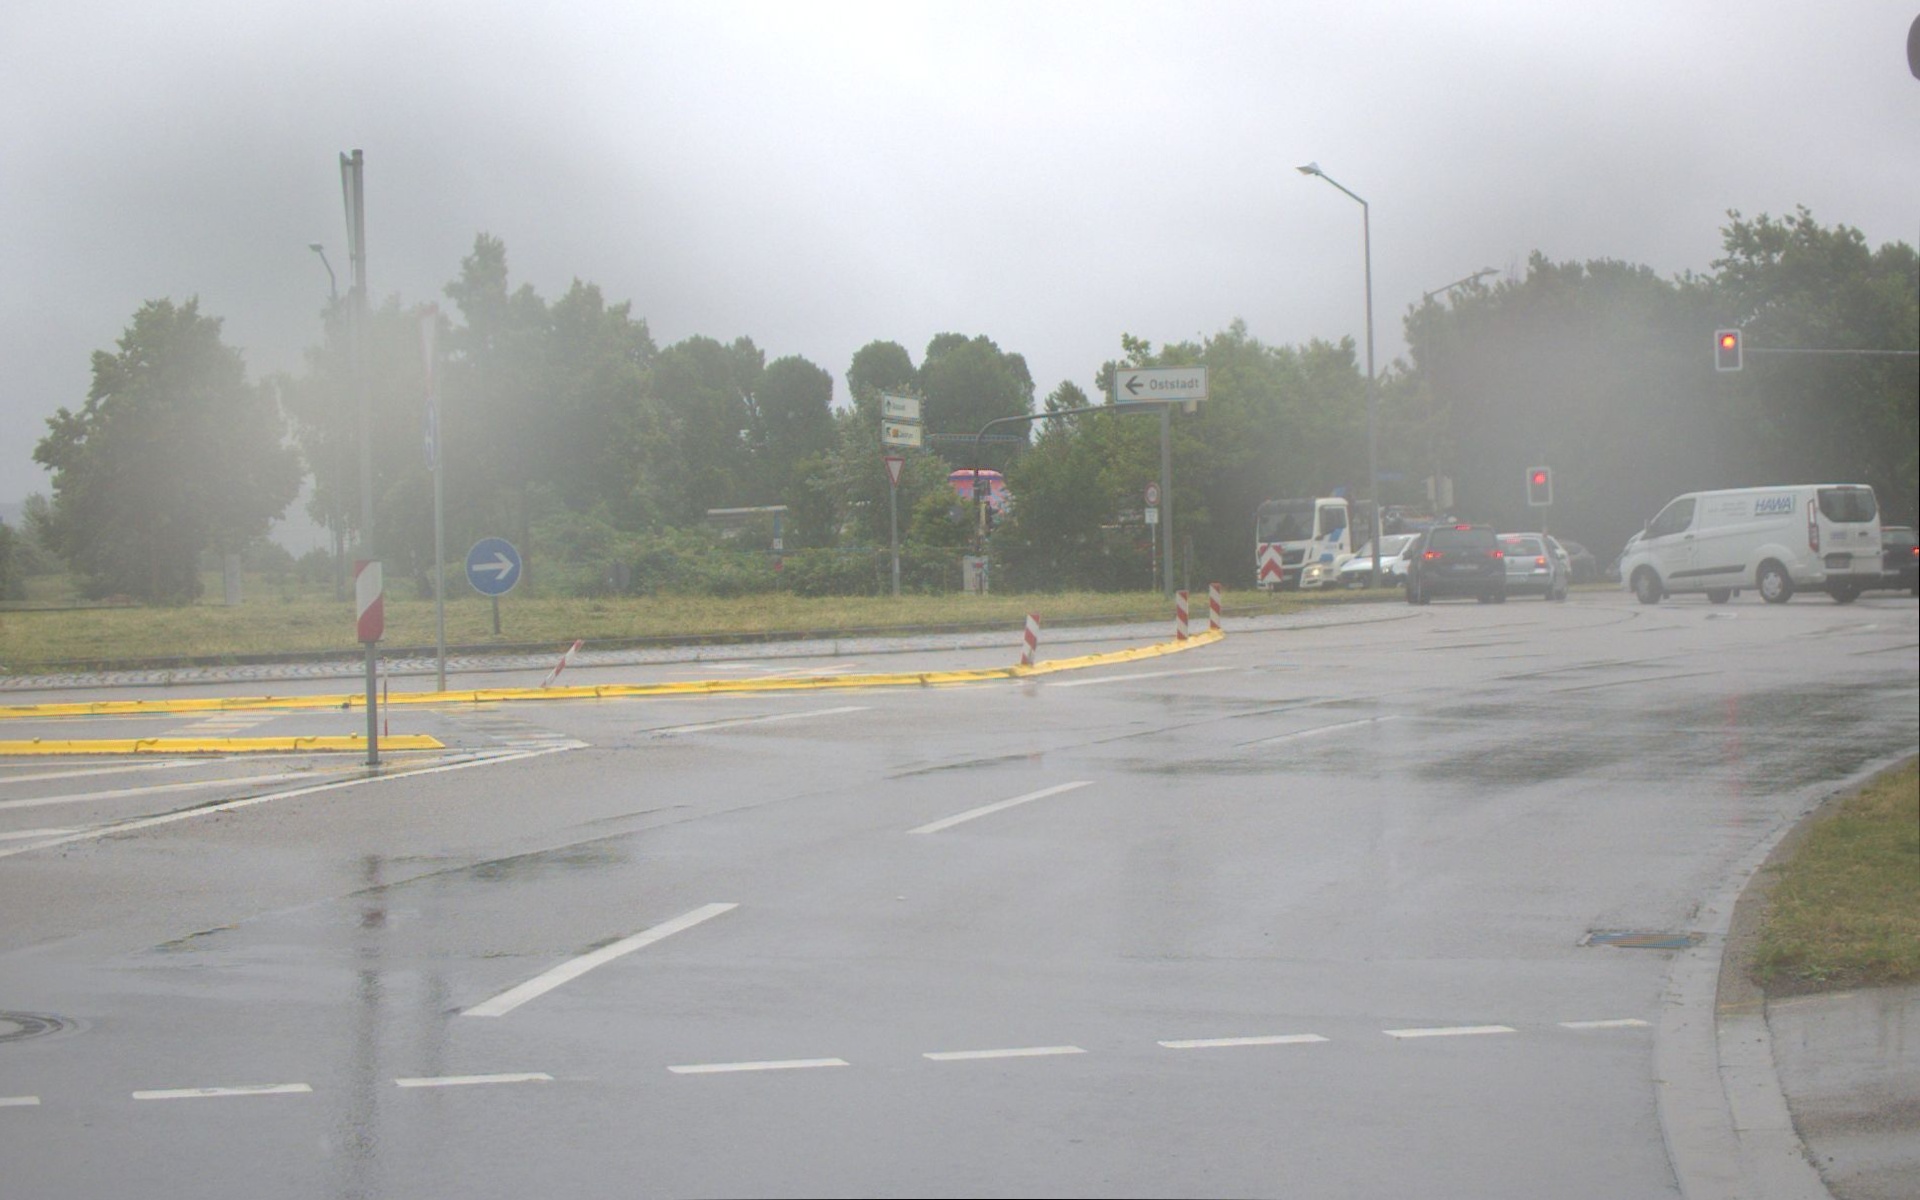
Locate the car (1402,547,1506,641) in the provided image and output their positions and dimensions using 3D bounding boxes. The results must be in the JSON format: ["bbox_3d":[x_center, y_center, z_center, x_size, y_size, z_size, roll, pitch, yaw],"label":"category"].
[{"bbox_3d":[10.293,-0.123,71.407,1.994,1.845,4.774,1,0,10],"label":"car"}]

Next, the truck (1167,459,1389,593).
[{"bbox_3d":[6.958,-1.536,74.112,2.464,2.677,8.049,1,0,23],"label":"truck"}]

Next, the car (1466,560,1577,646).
[{"bbox_3d":[12.635,0.069,77.149,1.995,1.845,4.772,1,0,15],"label":"car"}]

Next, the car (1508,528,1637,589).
[{"bbox_3d":[17.447,-1.162,97.799,1.800,1.656,3.990,1,0,41],"label":"car"}]

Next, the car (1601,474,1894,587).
[{"bbox_3d":[13.561,-1.181,59.446,1.994,1.845,4.775,1,0,-37],"label":"car"}]

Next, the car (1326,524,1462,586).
[{"bbox_3d":[12.163,-1.245,96.200,1.800,1.656,4.124,1,0,41],"label":"car"}]

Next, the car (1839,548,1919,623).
[{"bbox_3d":[19.119,-0.322,71.097,1.619,1.449,3.986,-1,1,12],"label":"car"}]

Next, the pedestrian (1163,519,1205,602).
[{"bbox_3d":[3.537,-0.627,54.323,0.453,1.300,0.485,-1,1,38],"label":"pedestrian"}]
